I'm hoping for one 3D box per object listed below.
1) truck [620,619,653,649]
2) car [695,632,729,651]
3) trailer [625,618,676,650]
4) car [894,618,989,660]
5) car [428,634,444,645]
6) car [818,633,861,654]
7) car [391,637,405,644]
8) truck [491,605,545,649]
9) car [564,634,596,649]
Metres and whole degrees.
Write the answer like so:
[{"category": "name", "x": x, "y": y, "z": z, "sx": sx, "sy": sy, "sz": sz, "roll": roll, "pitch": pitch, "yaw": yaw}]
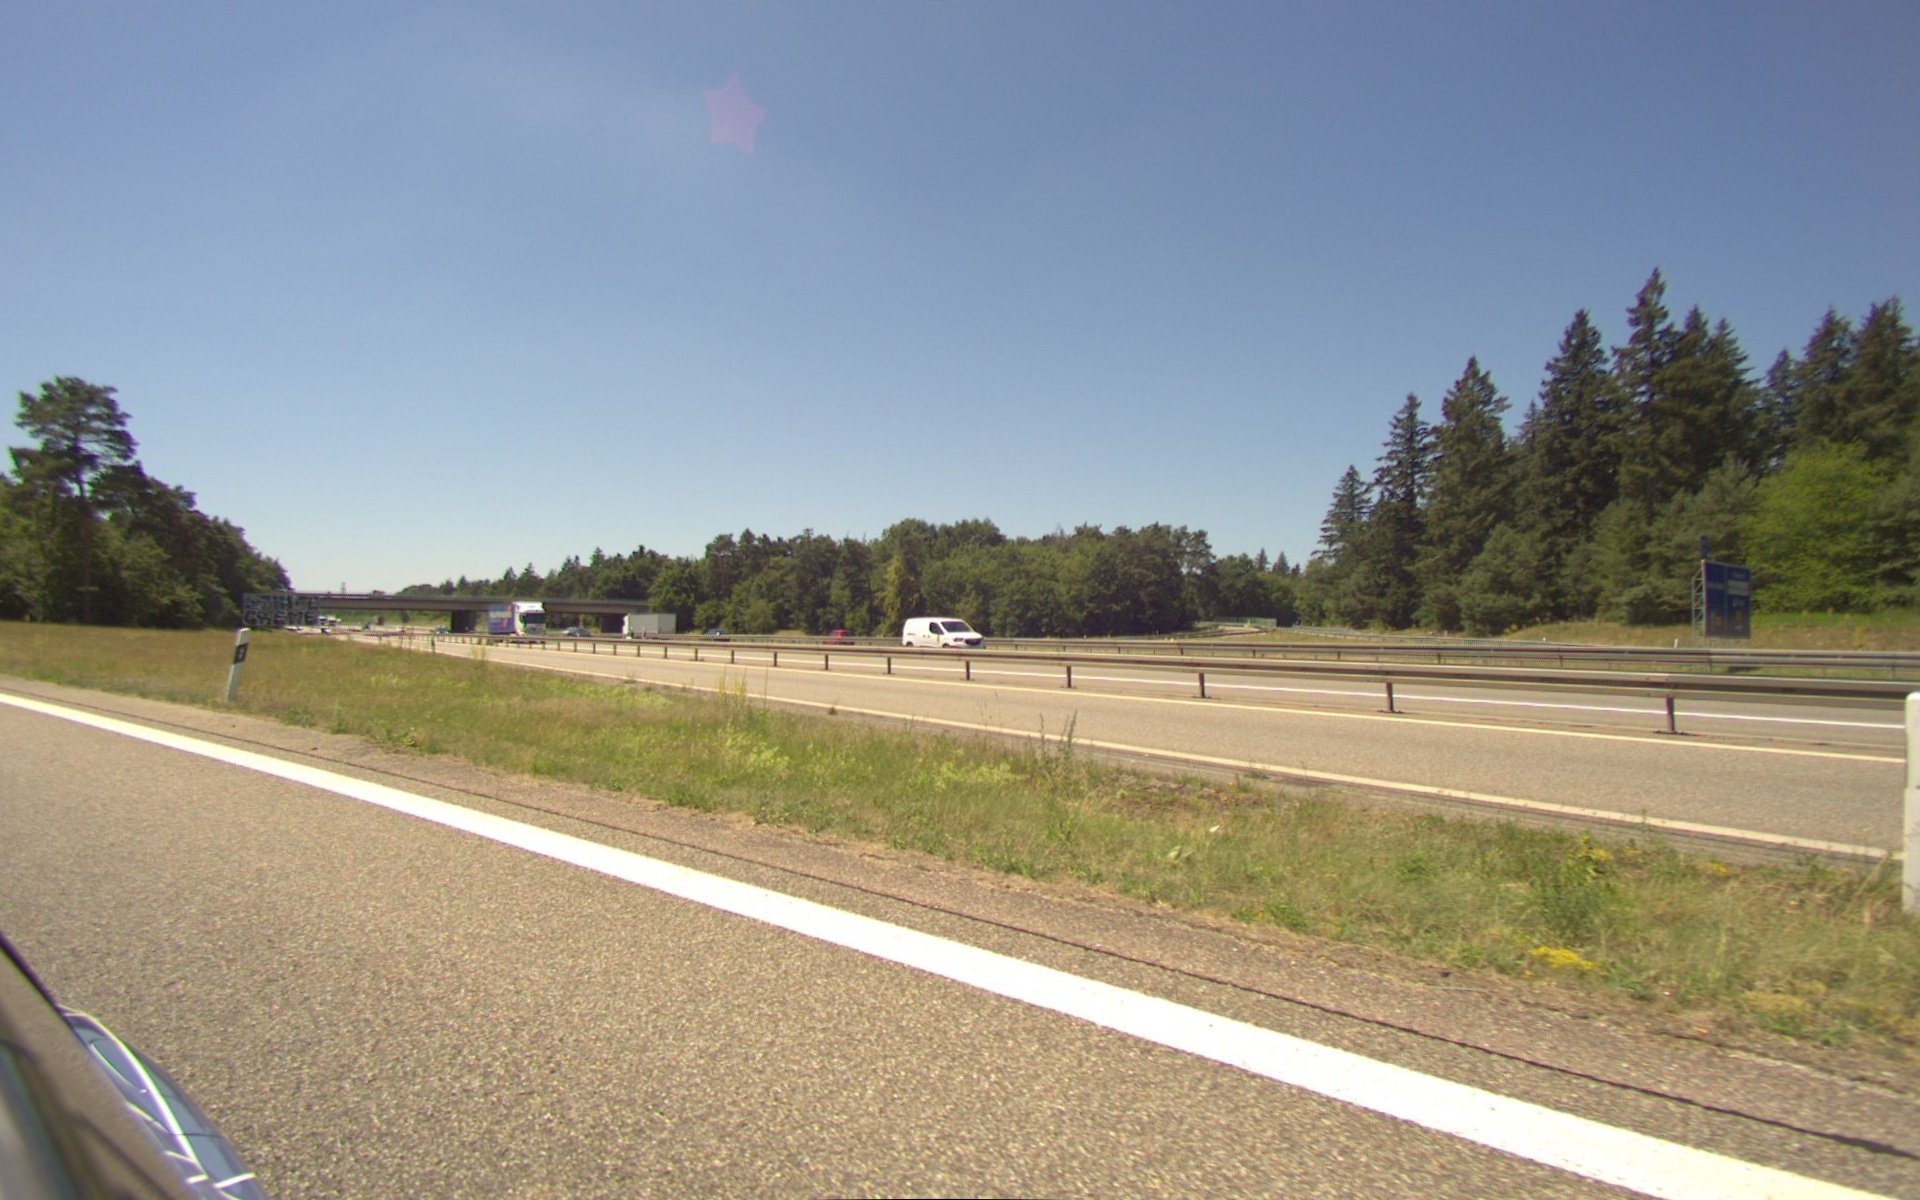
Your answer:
[{"category": "truck", "x": -48.747, "y": 5.097, "z": 152.513, "sx": 2.899, "sy": 4.426, "sz": 6.287, "roll": 3, "pitch": -3, "yaw": -34}, {"category": "car", "x": -25.471, "y": 4.263, "z": 103.704, "sx": 1.966, "sy": 1.863, "sz": 4.369, "roll": 2, "pitch": -4, "yaw": -34}, {"category": "trailer", "x": -45.158, "y": 4.955, "z": 147.110, "sx": 2.885, "sy": 4.421, "sz": 14.334, "roll": 3, "pitch": -3, "yaw": -34}, {"category": "car", "x": -0.904, "y": 1.727, "z": 45.336, "sx": 1.748, "sy": 1.767, "sz": 5.032, "roll": 1, "pitch": -2, "yaw": -35}, {"category": "car", "x": -88.904, "y": 6.683, "z": 171.753, "sx": 1.967, "sy": 1.730, "sz": 4.010, "roll": 1, "pitch": -2, "yaw": -34}, {"category": "car", "x": -10.649, "y": 3.786, "z": 89.241, "sx": 1.935, "sy": 1.741, "sz": 4.009, "roll": 4, "pitch": -3, "yaw": -36}, {"category": "car", "x": -124.151, "y": 8.899, "z": 223.551, "sx": 1.968, "sy": 1.580, "sz": 4.008, "roll": 1, "pitch": -2, "yaw": -38}, {"category": "truck", "x": -43.828, "y": 2.714, "z": 100.182, "sx": 2.667, "sy": 4.089, "sz": 11.073, "roll": 1, "pitch": -2, "yaw": -36}, {"category": "car", "x": -40.073, "y": 4.356, "z": 106.632, "sx": 1.967, "sy": 1.487, "sz": 4.251, "roll": 1, "pitch": -2, "yaw": -37}]
